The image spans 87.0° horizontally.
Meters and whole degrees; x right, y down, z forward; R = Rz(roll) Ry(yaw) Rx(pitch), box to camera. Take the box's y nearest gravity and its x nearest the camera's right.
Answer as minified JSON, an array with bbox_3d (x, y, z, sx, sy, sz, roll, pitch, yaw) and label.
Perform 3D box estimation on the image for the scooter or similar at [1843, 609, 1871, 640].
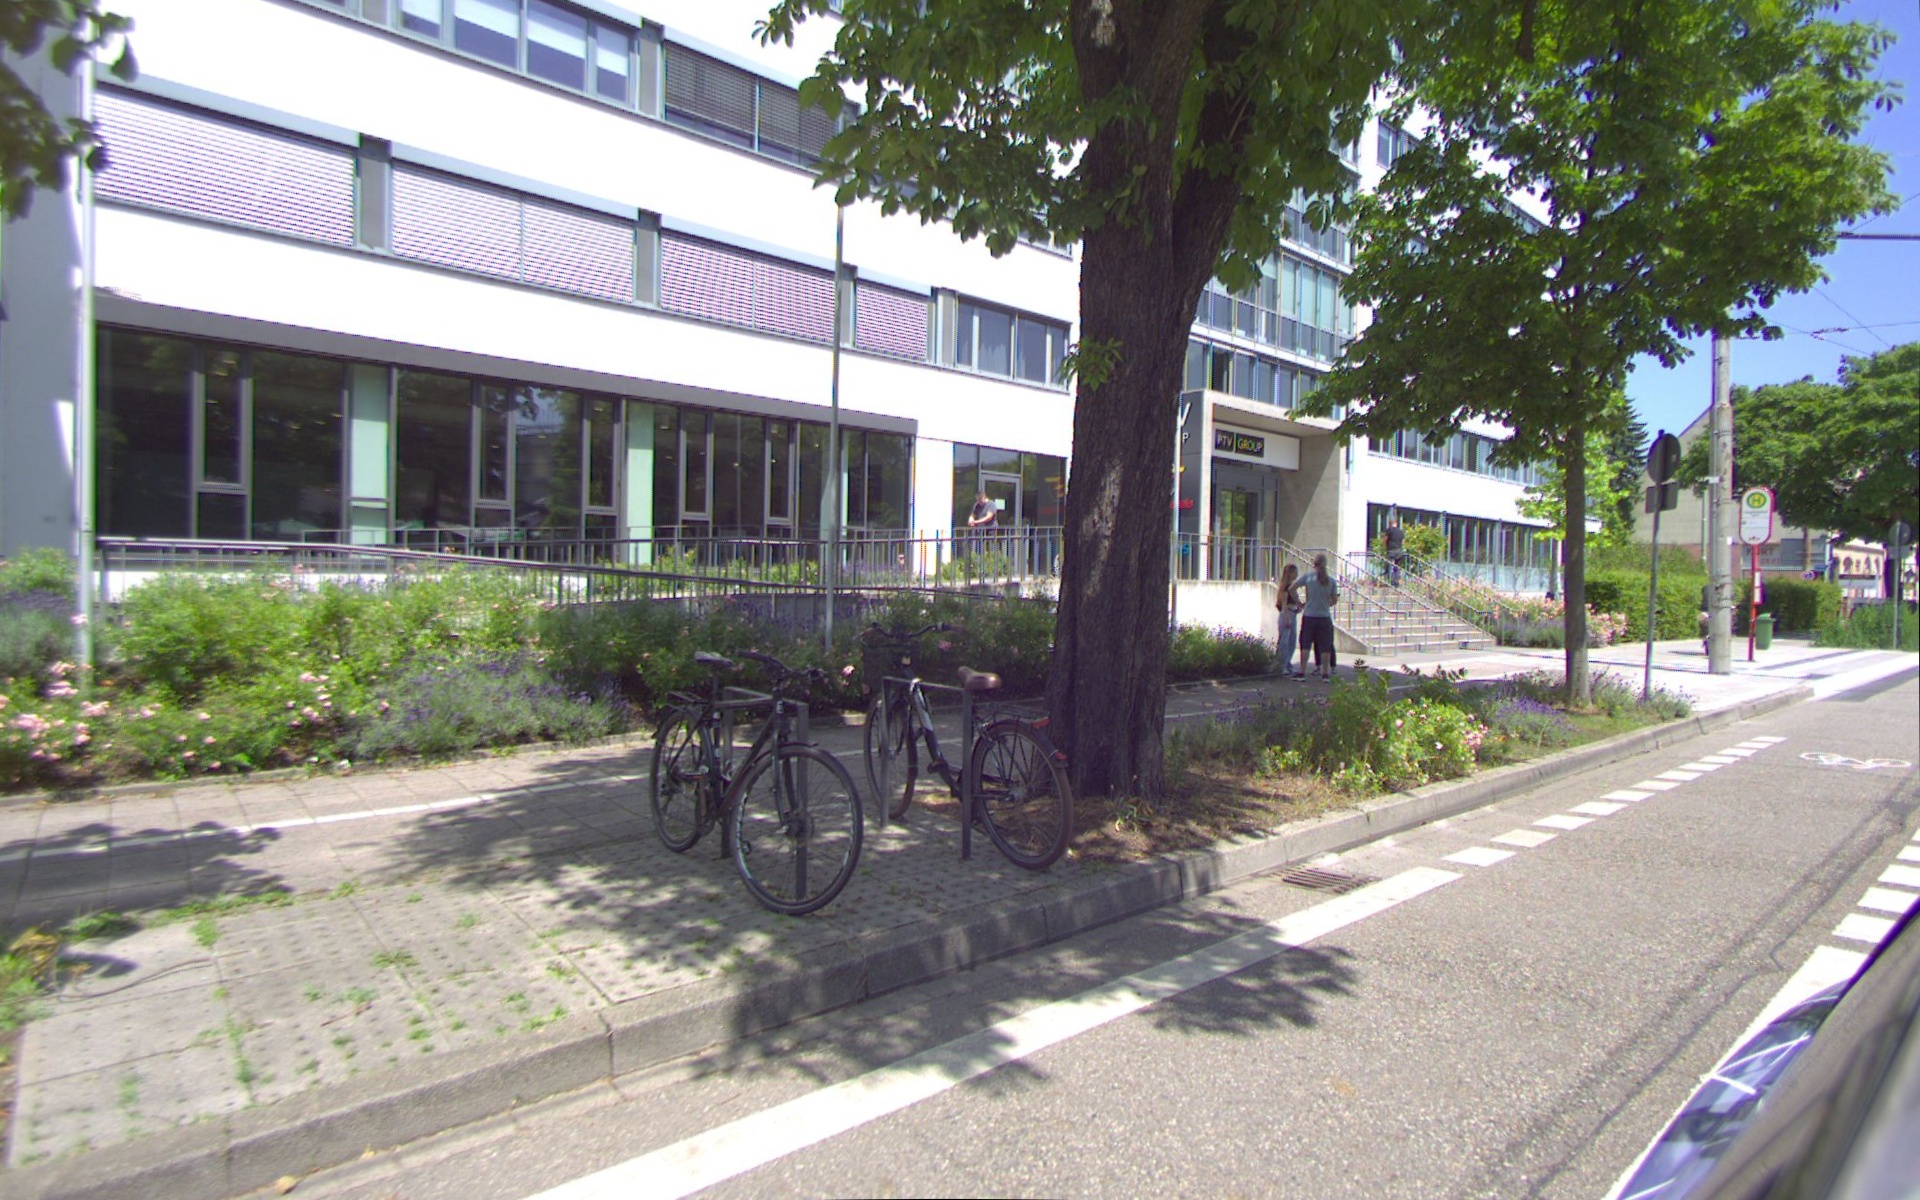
[{"bbox_3d":[36.261,0.992,40.891,1.127,1.238,0.327,0,-1,-19],"label":"scooter or similar"}]

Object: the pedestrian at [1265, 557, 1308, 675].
[{"bbox_3d":[4.943,0.223,15.311,0.532,1.735,0.562,2,2,20],"label":"pedestrian"}]

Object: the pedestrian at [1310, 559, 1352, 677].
[{"bbox_3d":[5.621,0.250,15.337,0.532,1.735,0.562,2,2,20],"label":"pedestrian"}]

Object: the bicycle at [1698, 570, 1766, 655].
[{"bbox_3d":[17.148,0.249,22.473,1.777,1.807,0.692,0,3,-38],"label":"bicycle"}]

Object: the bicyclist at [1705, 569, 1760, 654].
[{"bbox_3d":[17.173,0.238,22.498,0.871,1.821,0.698,0,3,-37],"label":"bicyclist"}]

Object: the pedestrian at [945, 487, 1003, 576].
[{"bbox_3d":[0.285,-1.375,20.707,0.794,1.738,0.879,1,-1,-41],"label":"pedestrian"}]

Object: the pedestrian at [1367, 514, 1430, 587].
[{"bbox_3d":[10.863,-1.231,25.116,1.068,1.735,0.878,1,2,-5],"label":"pedestrian"}]

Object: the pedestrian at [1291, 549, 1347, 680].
[{"bbox_3d":[5.179,0.184,14.635,0.671,1.818,0.671,3,2,18],"label":"pedestrian"}]

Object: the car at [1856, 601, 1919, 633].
[{"bbox_3d":[43.772,0.793,46.245,1.667,1.388,3.936,0,2,-16],"label":"car"}]

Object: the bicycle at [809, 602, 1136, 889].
[{"bbox_3d":[-0.015,0.649,5.444,0.682,1.196,1.887,0,2,-40],"label":"bicycle"}]

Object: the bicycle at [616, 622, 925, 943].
[{"bbox_3d":[-0.975,0.711,4.767,0.705,1.098,1.831,-1,2,-37],"label":"bicycle"}]
